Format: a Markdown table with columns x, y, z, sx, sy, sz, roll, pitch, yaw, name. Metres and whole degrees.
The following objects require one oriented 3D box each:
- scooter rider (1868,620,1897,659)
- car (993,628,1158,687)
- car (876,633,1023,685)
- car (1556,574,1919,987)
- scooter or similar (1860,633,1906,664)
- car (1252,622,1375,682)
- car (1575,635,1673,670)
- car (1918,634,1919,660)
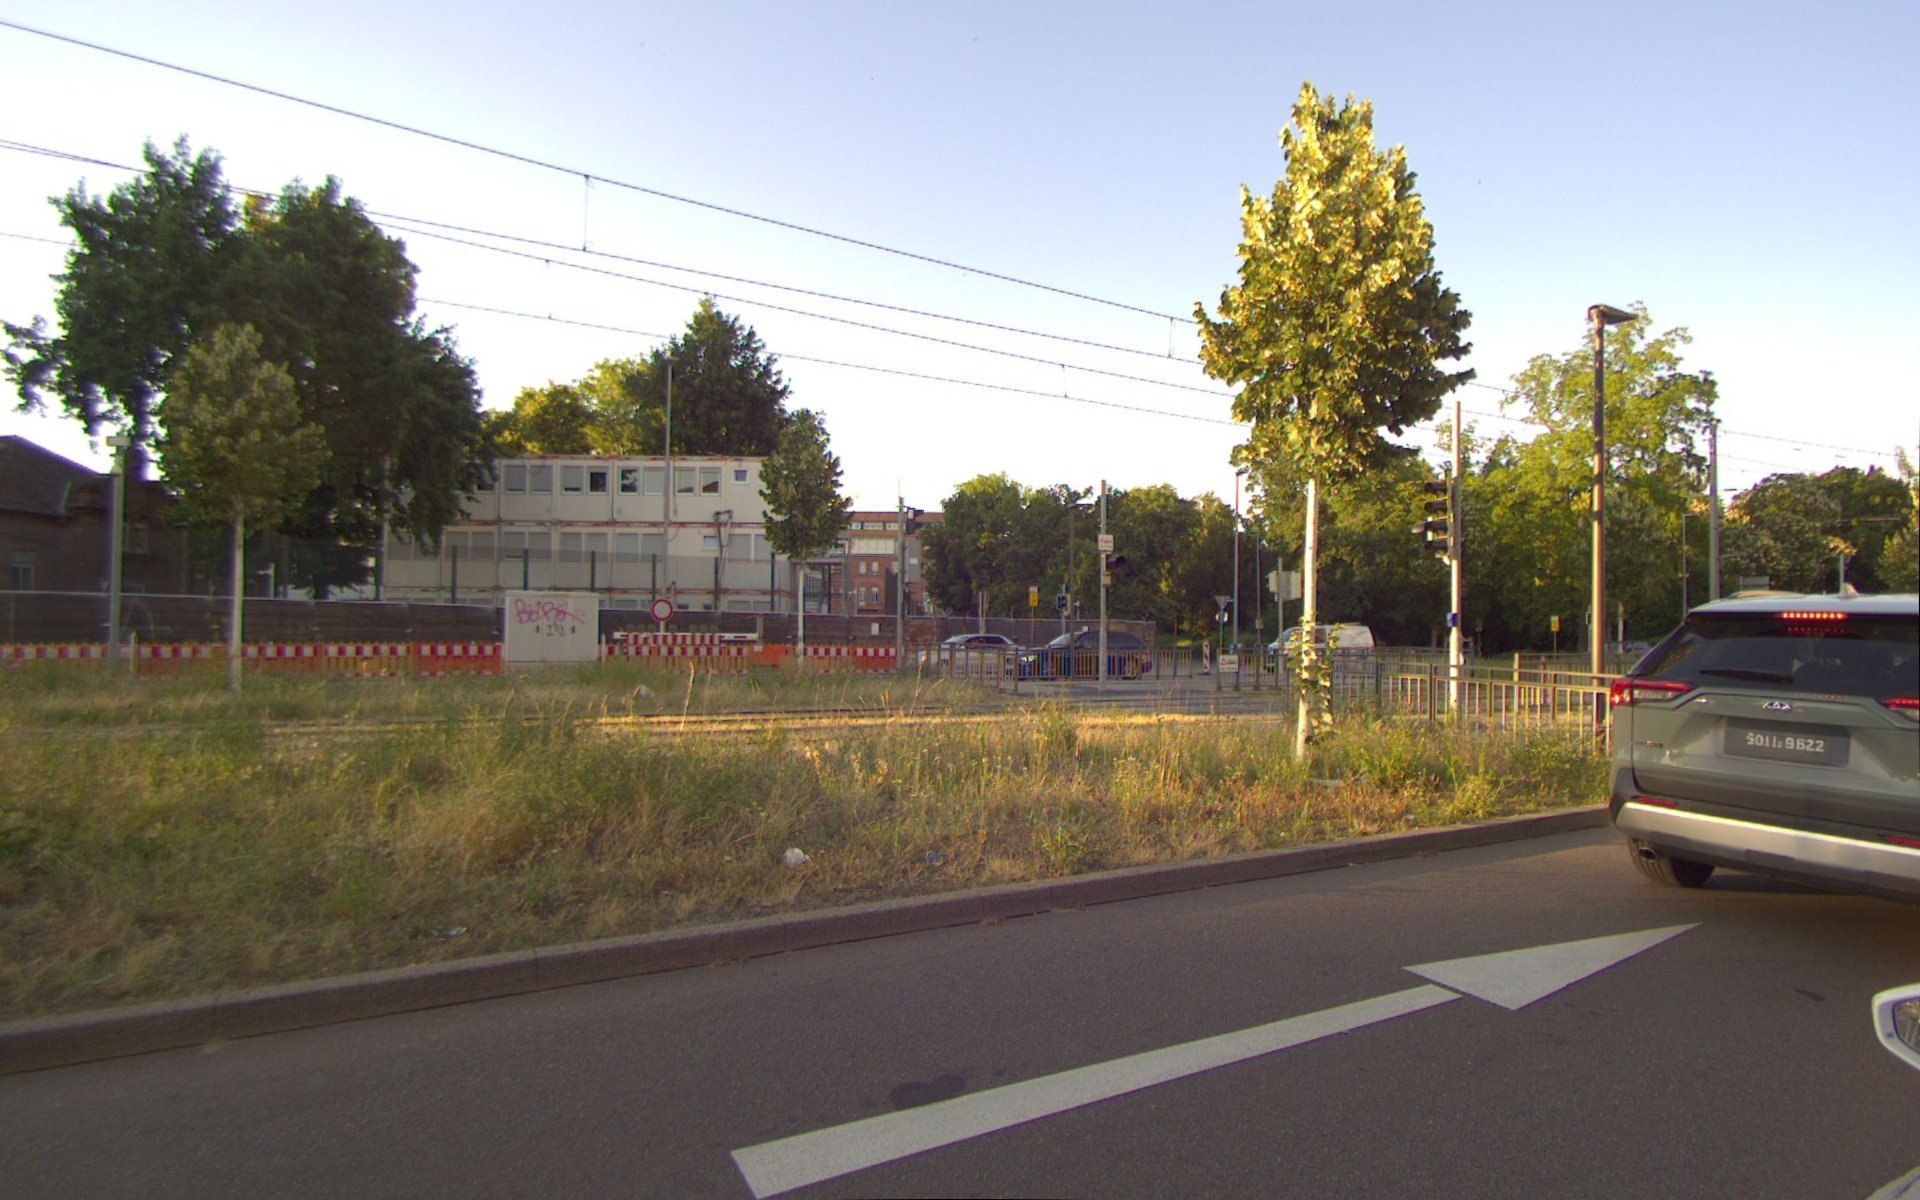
| x | y | z | sx | sy | sz | roll | pitch | yaw | name |
| --- | --- | --- | --- | --- | --- | --- | --- | --- | --- |
| 36.309 | 1.544 | 39.533 | 0.811 | 1.534 | 0.650 | -1 | -2 | 41 | scooter rider |
| 3.372 | 1.619 | 29.133 | 4.466 | 1.501 | 1.985 | 0 | 0 | -28 | car |
| -0.334 | 1.886 | 32.942 | 4.465 | 1.501 | 1.986 | 0 | 0 | -28 | car |
| 5.455 | 0.744 | 5.650 | 4.219 | 1.681 | 1.845 | 0 | 0 | -31 | car |
| 36.287 | 1.897 | 39.502 | 1.314 | 1.168 | 0.511 | -1 | -2 | 41 | scooter or similar |
| 14.104 | 2.013 | 40.078 | 4.690 | 2.197 | 1.986 | 0 | 0 | -28 | car |
| 32.290 | 2.514 | 48.849 | 4.461 | 1.501 | 1.987 | 0 | 0 | -26 | car |
| 56.419 | 2.694 | 57.137 | 3.737 | 1.501 | 1.792 | 1 | -2 | -29 | car |
